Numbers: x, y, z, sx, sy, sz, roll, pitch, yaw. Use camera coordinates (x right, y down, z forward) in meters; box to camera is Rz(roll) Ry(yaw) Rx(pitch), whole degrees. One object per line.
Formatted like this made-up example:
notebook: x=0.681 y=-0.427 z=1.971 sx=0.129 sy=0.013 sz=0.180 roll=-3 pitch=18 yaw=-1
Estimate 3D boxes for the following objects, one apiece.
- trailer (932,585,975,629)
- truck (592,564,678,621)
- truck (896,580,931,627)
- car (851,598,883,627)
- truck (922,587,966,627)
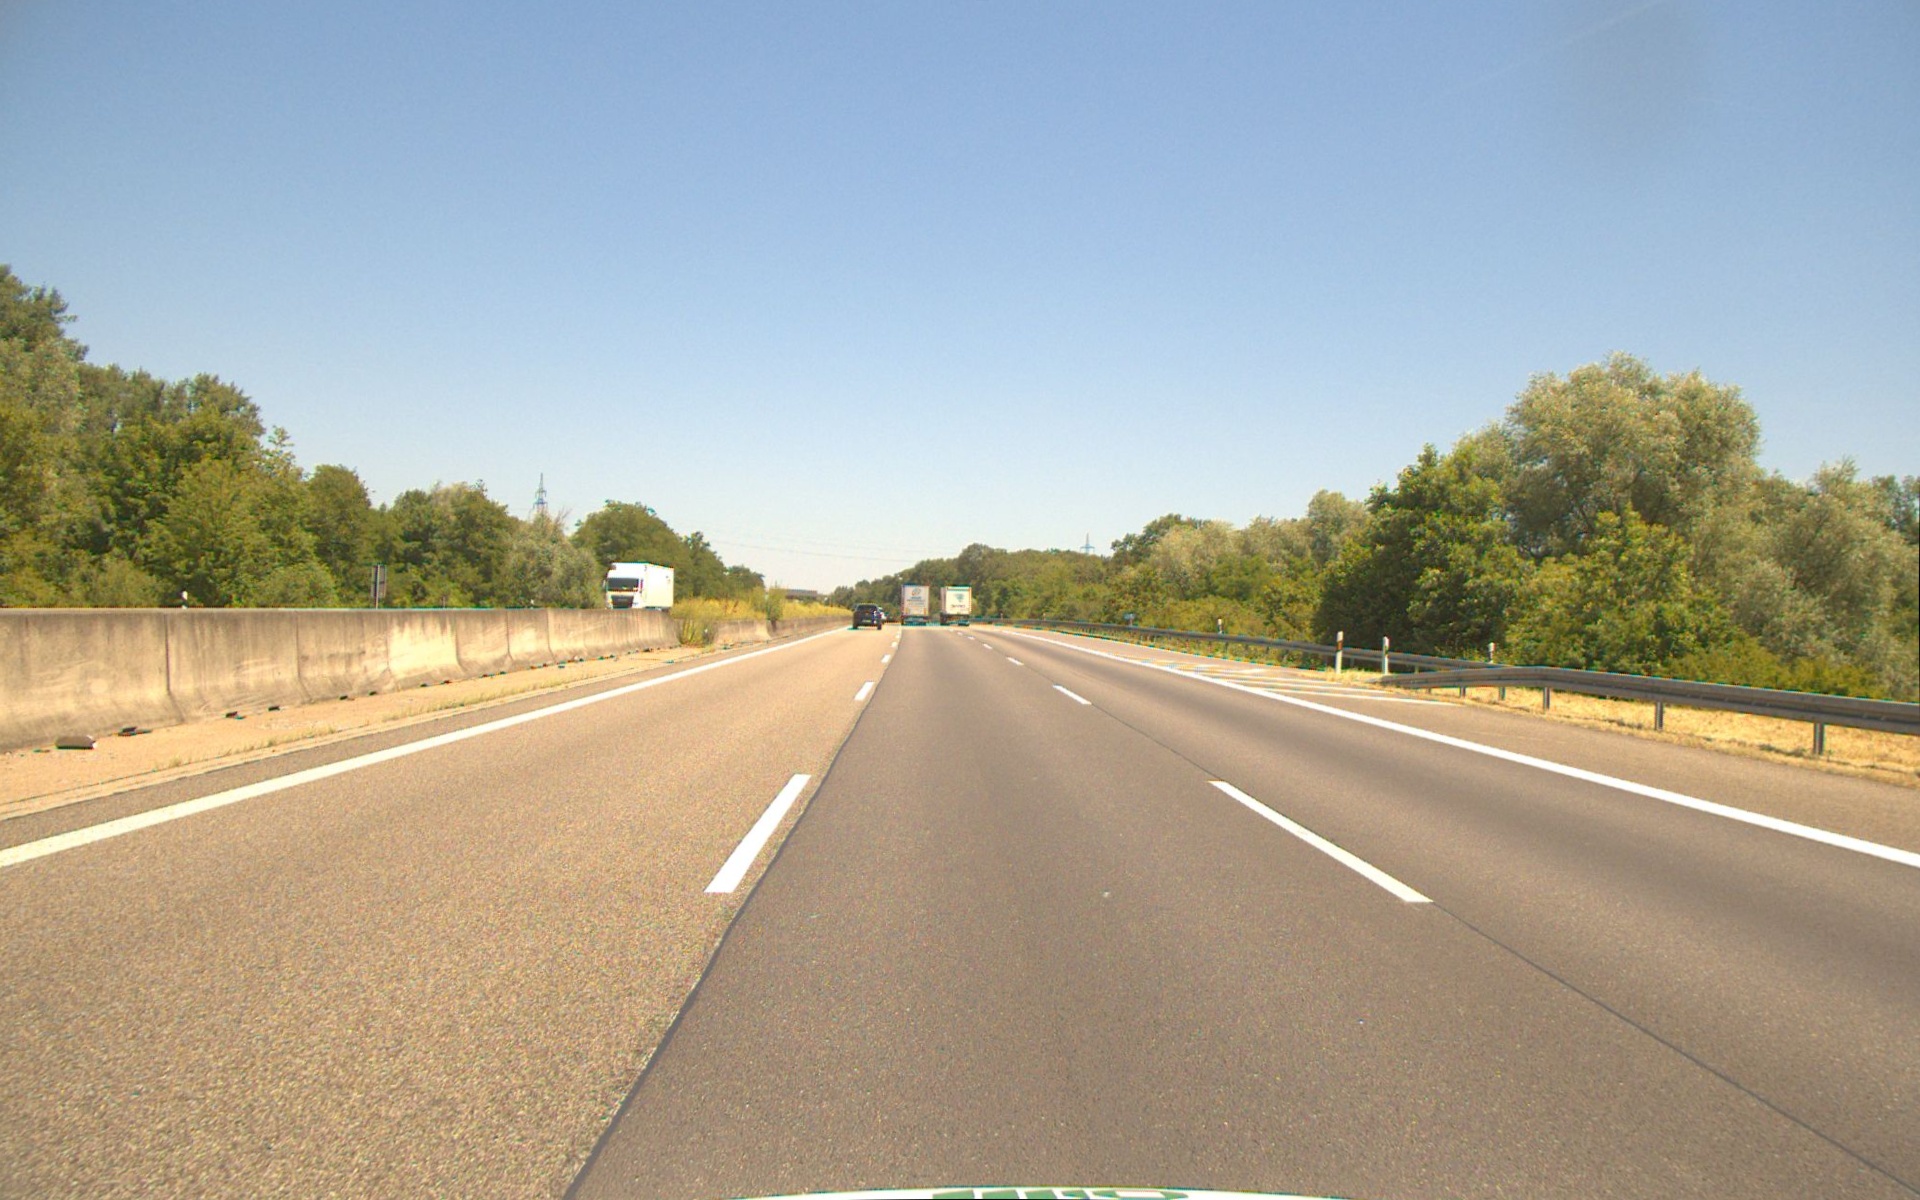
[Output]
trailer: x=-0.715 y=0.689 z=168.780 sx=3.303 sy=4.215 sz=9.078 roll=2 pitch=0 yaw=-6
truck: x=-23.766 y=-0.460 z=122.044 sx=3.526 sy=3.800 sz=17.475 roll=2 pitch=0 yaw=-2
truck: x=-4.628 y=0.335 z=163.635 sx=3.165 sy=4.275 sz=8.462 roll=4 pitch=0 yaw=-2
car: x=-6.297 y=0.856 z=112.364 sx=1.953 sy=1.907 sz=3.999 roll=2 pitch=0 yaw=-1
truck: x=-1.760 y=0.726 z=176.228 sx=3.263 sy=4.124 sz=10.935 roll=2 pitch=0 yaw=-8
